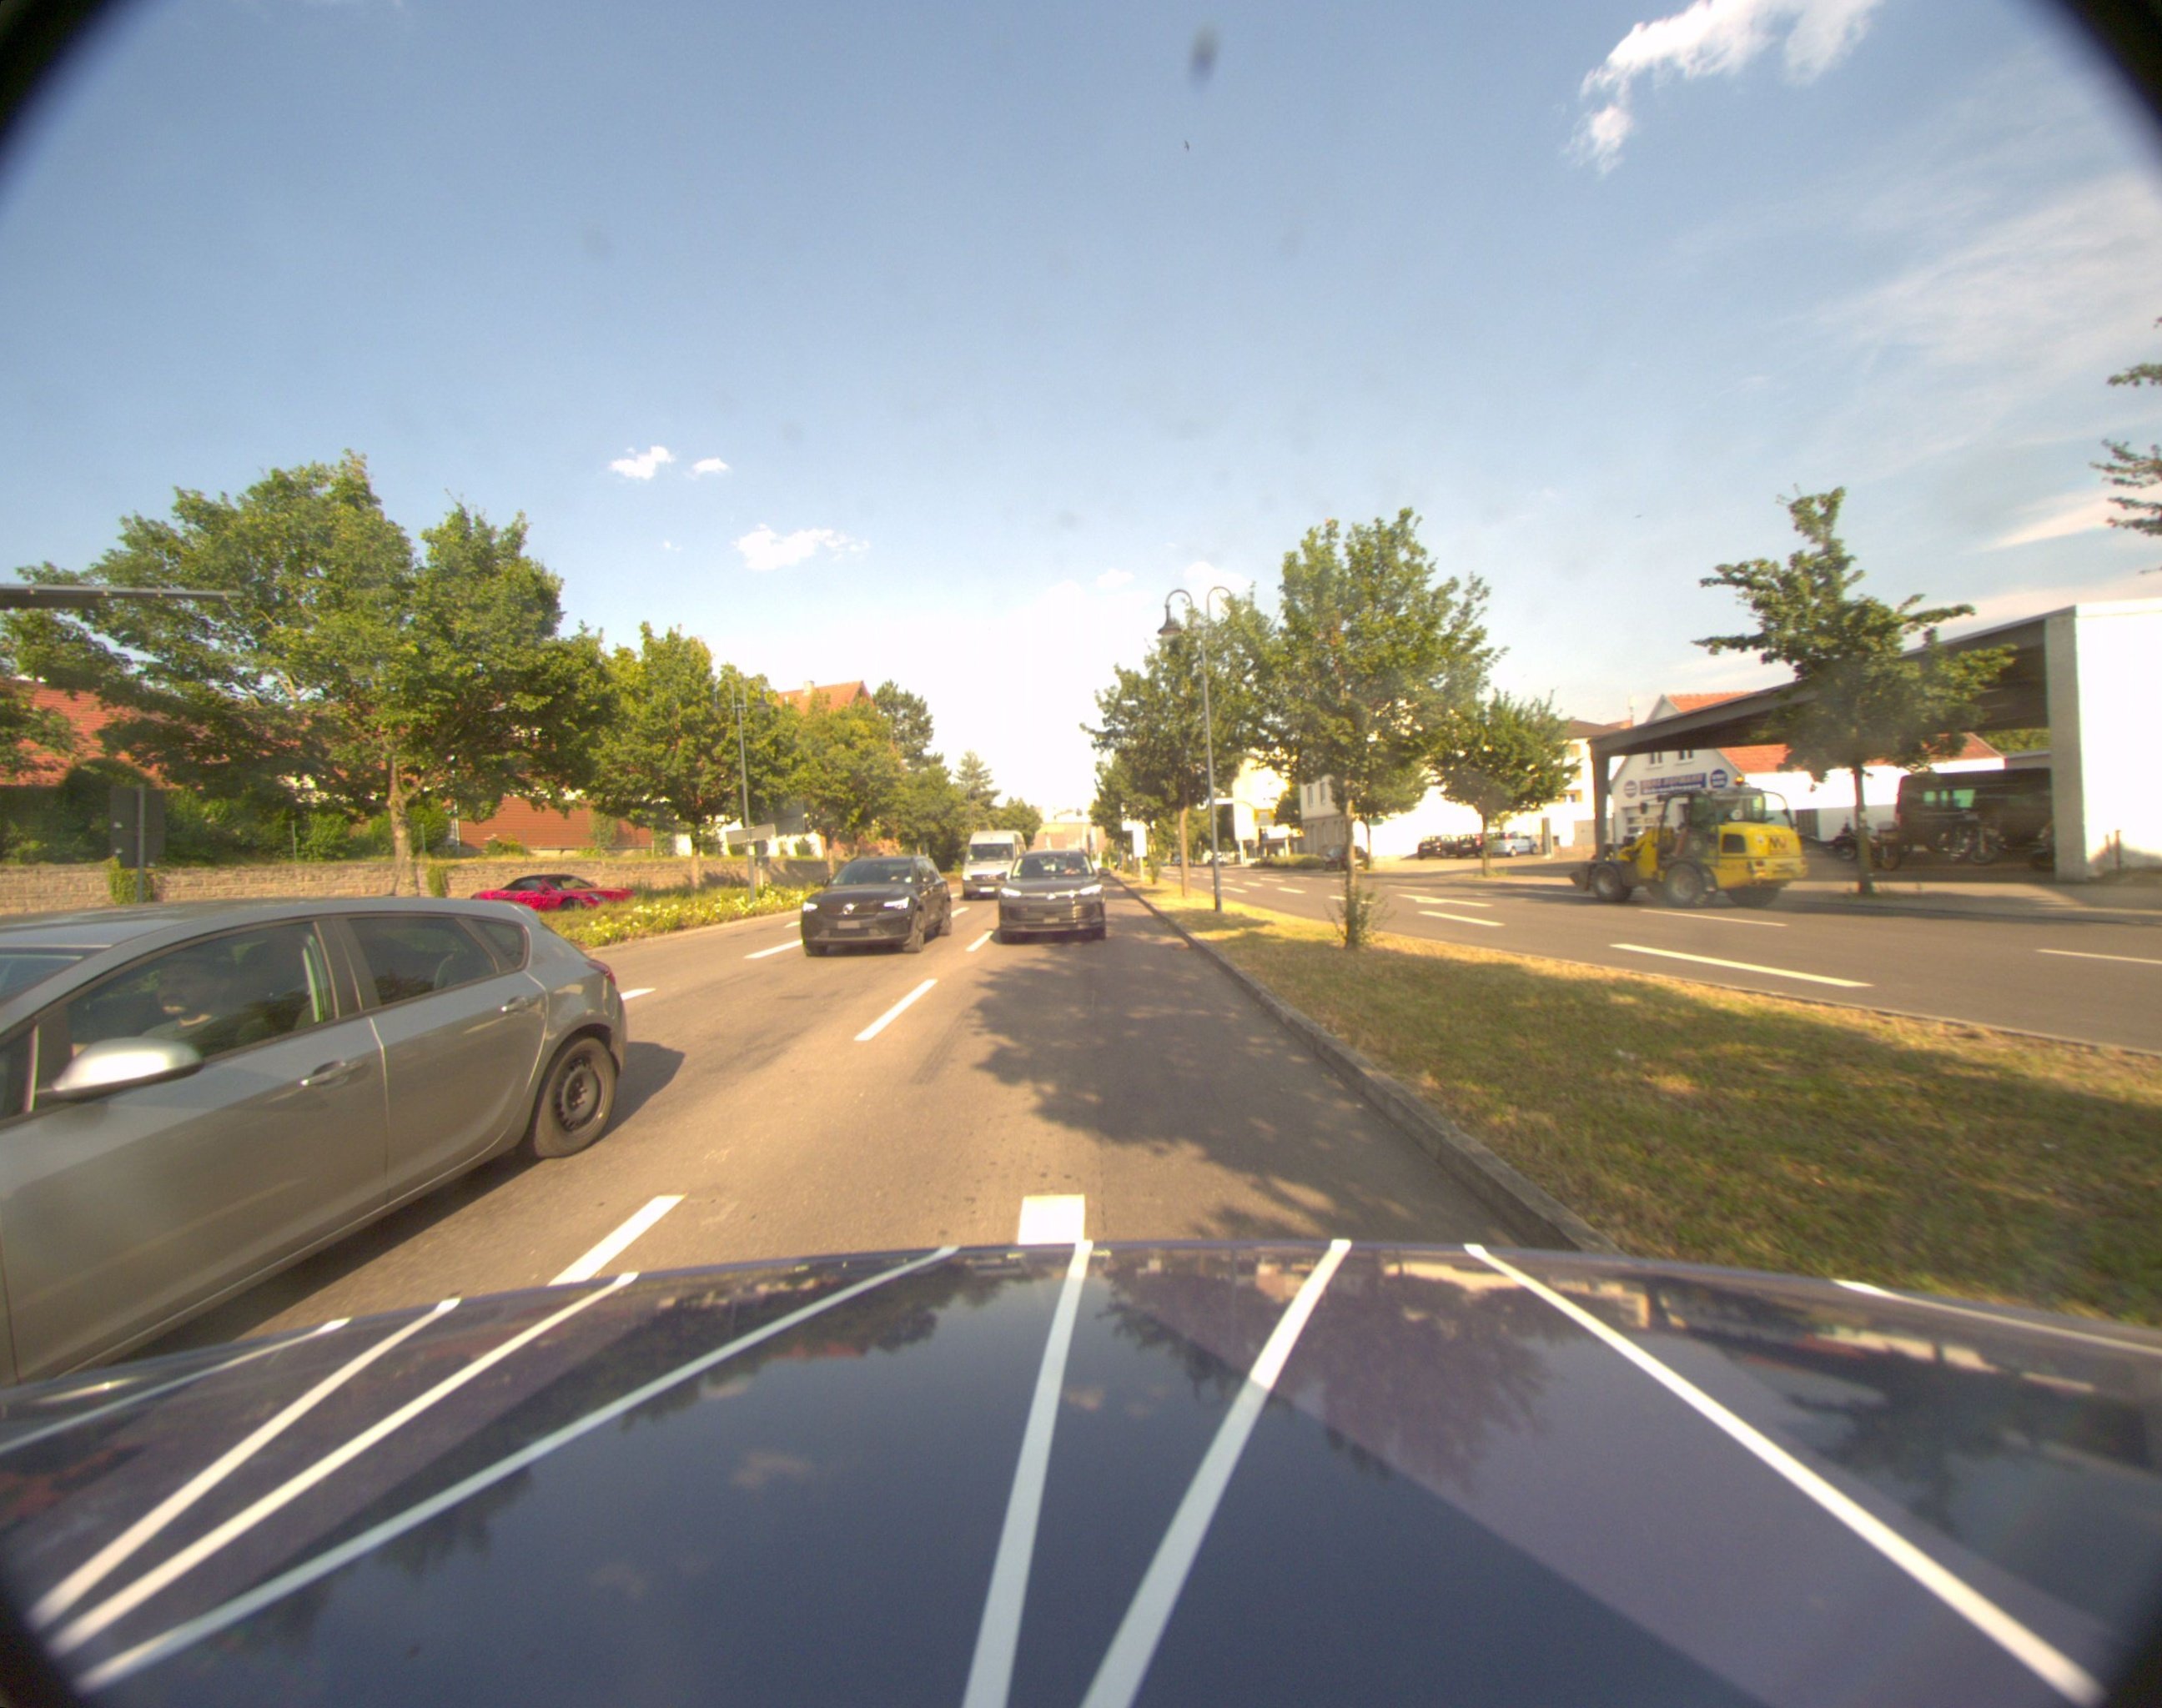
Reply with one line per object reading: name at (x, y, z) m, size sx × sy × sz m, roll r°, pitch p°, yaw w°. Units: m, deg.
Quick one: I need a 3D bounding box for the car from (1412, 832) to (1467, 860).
car at (22.680, -0.523, 48.049) m, size 3.416 × 1.616 × 1.857 m, roll -3°, pitch 0°, yaw -41°

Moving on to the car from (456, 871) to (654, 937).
car at (-13.448, 1.266, 19.526) m, size 3.994 × 1.422 × 1.749 m, roll -3°, pitch 0°, yaw 8°

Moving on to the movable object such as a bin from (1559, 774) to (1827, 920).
movable object such as a bin at (12.096, -0.133, 15.562) m, size 1.556 × 2.447 × 4.978 m, roll -2°, pitch 0°, yaw 2°

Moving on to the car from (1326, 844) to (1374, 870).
car at (15.813, 0.166, 44.796) m, size 1.672 × 1.310 × 3.432 m, roll -6°, pitch 0°, yaw 3°

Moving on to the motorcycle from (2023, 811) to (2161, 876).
motorcycle at (21.415, -0.198, 15.871) m, size 0.526 × 1.293 × 2.090 m, roll -3°, pitch 0°, yaw -26°

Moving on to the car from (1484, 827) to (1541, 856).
car at (24.569, -0.737, 43.242) m, size 3.438 × 1.534 × 1.617 m, roll -2°, pitch 0°, yaw -38°

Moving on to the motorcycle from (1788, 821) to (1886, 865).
motorcycle at (24.224, -0.326, 24.396) m, size 0.489 × 1.315 × 2.114 m, roll -3°, pitch 0°, yaw -32°

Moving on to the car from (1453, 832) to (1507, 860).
car at (24.158, -0.494, 45.935) m, size 3.437 × 1.555 × 1.583 m, roll -3°, pitch 1°, yaw -38°

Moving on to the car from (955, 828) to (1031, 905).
car at (-3.306, 0.428, 30.014) m, size 2.040 × 2.642 × 6.649 m, roll -2°, pitch 0°, yaw 1°

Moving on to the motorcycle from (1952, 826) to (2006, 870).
motorcycle at (23.855, -0.180, 20.213) m, size 0.549 × 1.093 × 2.052 m, roll -3°, pitch 0°, yaw 40°

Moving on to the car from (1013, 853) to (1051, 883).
car at (-2.780, 0.761, 43.790) m, size 1.768 × 1.582 × 4.056 m, roll -3°, pitch 0°, yaw 1°

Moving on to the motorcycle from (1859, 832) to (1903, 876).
motorcycle at (21.467, -0.022, 20.413) m, size 0.549 × 1.093 × 2.052 m, roll -3°, pitch 0°, yaw 40°

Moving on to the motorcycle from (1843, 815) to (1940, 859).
motorcycle at (26.417, -0.533, 24.809) m, size 0.489 × 1.315 × 2.114 m, roll -3°, pitch 0°, yaw -40°

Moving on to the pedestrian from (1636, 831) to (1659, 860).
pedestrian at (27.086, -0.402, 36.338) m, size 0.596 × 1.332 × 0.584 m, roll -3°, pitch 1°, yaw -7°

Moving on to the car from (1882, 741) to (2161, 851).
car at (30.558, -1.711, 24.644) m, size 2.681 × 2.942 × 5.788 m, roll -3°, pitch 0°, yaw -32°

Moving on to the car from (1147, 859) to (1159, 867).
car at (13.557, 1.689, 143.182) m, size 1.780 × 1.516 × 3.843 m, roll -2°, pitch 0°, yaw 14°

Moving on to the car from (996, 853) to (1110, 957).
car at (-0.430, 0.827, 14.281) m, size 1.768 × 1.582 × 4.056 m, roll -3°, pitch 0°, yaw 1°

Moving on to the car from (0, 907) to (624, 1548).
car at (-3.536, 1.040, 2.388) m, size 1.652 × 1.414 × 4.143 m, roll -1°, pitch 0°, yaw 0°

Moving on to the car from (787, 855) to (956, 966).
car at (-3.510, 0.863, 13.557) m, size 1.792 × 1.596 × 4.056 m, roll -2°, pitch 0°, yaw 1°

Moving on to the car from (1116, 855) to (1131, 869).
car at (6.021, 1.065, 107.661) m, size 1.815 × 1.861 × 4.002 m, roll -3°, pitch 0°, yaw 7°
